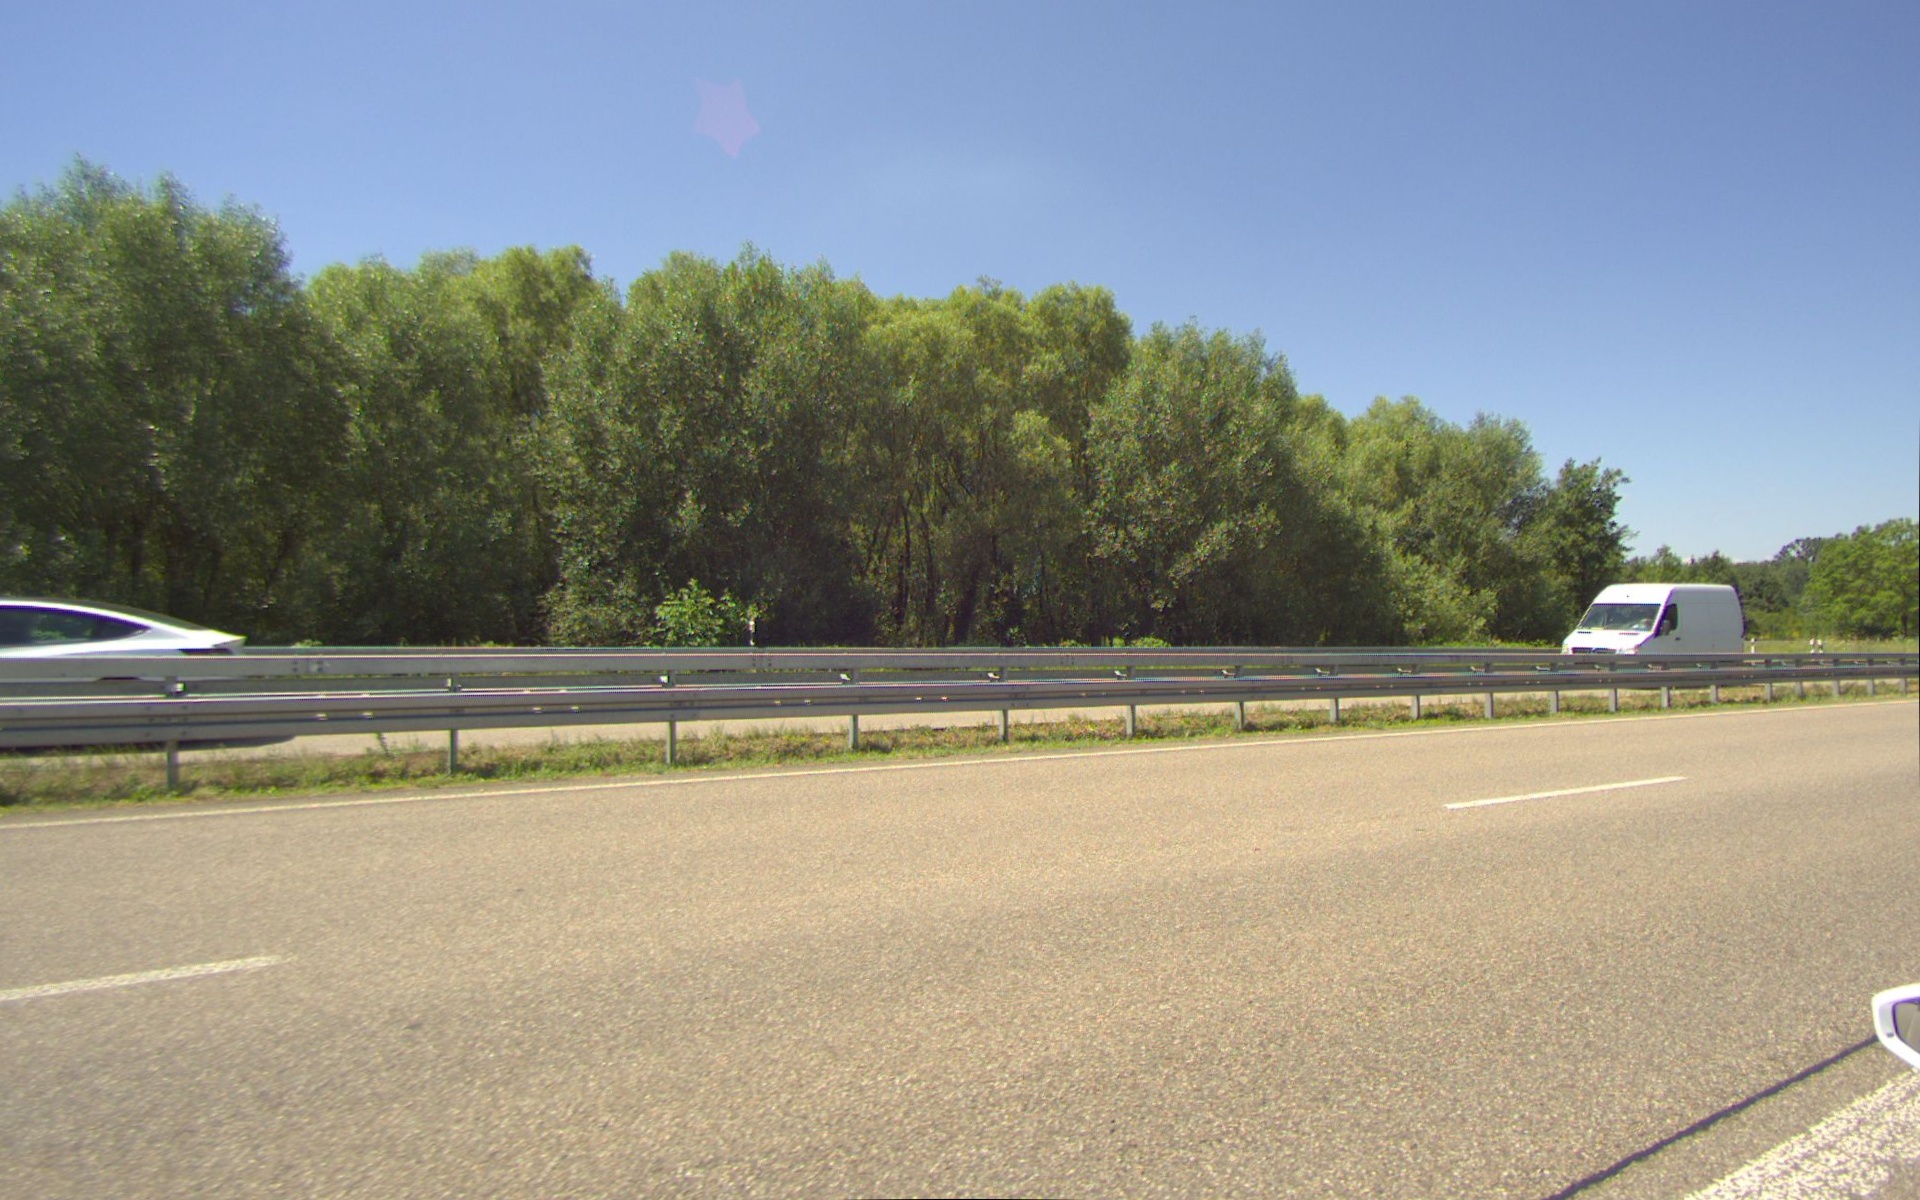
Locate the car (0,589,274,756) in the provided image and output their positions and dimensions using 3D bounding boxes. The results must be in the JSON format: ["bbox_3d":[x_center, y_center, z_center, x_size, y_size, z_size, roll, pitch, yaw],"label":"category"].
[{"bbox_3d":[-9.220,0.657,9.892,3.957,1.509,1.907,2,-1,-33],"label":"car"}]

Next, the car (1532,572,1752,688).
[{"bbox_3d":[17.818,0.782,26.123,6.549,2.718,2.093,2,-1,-30],"label":"car"}]
